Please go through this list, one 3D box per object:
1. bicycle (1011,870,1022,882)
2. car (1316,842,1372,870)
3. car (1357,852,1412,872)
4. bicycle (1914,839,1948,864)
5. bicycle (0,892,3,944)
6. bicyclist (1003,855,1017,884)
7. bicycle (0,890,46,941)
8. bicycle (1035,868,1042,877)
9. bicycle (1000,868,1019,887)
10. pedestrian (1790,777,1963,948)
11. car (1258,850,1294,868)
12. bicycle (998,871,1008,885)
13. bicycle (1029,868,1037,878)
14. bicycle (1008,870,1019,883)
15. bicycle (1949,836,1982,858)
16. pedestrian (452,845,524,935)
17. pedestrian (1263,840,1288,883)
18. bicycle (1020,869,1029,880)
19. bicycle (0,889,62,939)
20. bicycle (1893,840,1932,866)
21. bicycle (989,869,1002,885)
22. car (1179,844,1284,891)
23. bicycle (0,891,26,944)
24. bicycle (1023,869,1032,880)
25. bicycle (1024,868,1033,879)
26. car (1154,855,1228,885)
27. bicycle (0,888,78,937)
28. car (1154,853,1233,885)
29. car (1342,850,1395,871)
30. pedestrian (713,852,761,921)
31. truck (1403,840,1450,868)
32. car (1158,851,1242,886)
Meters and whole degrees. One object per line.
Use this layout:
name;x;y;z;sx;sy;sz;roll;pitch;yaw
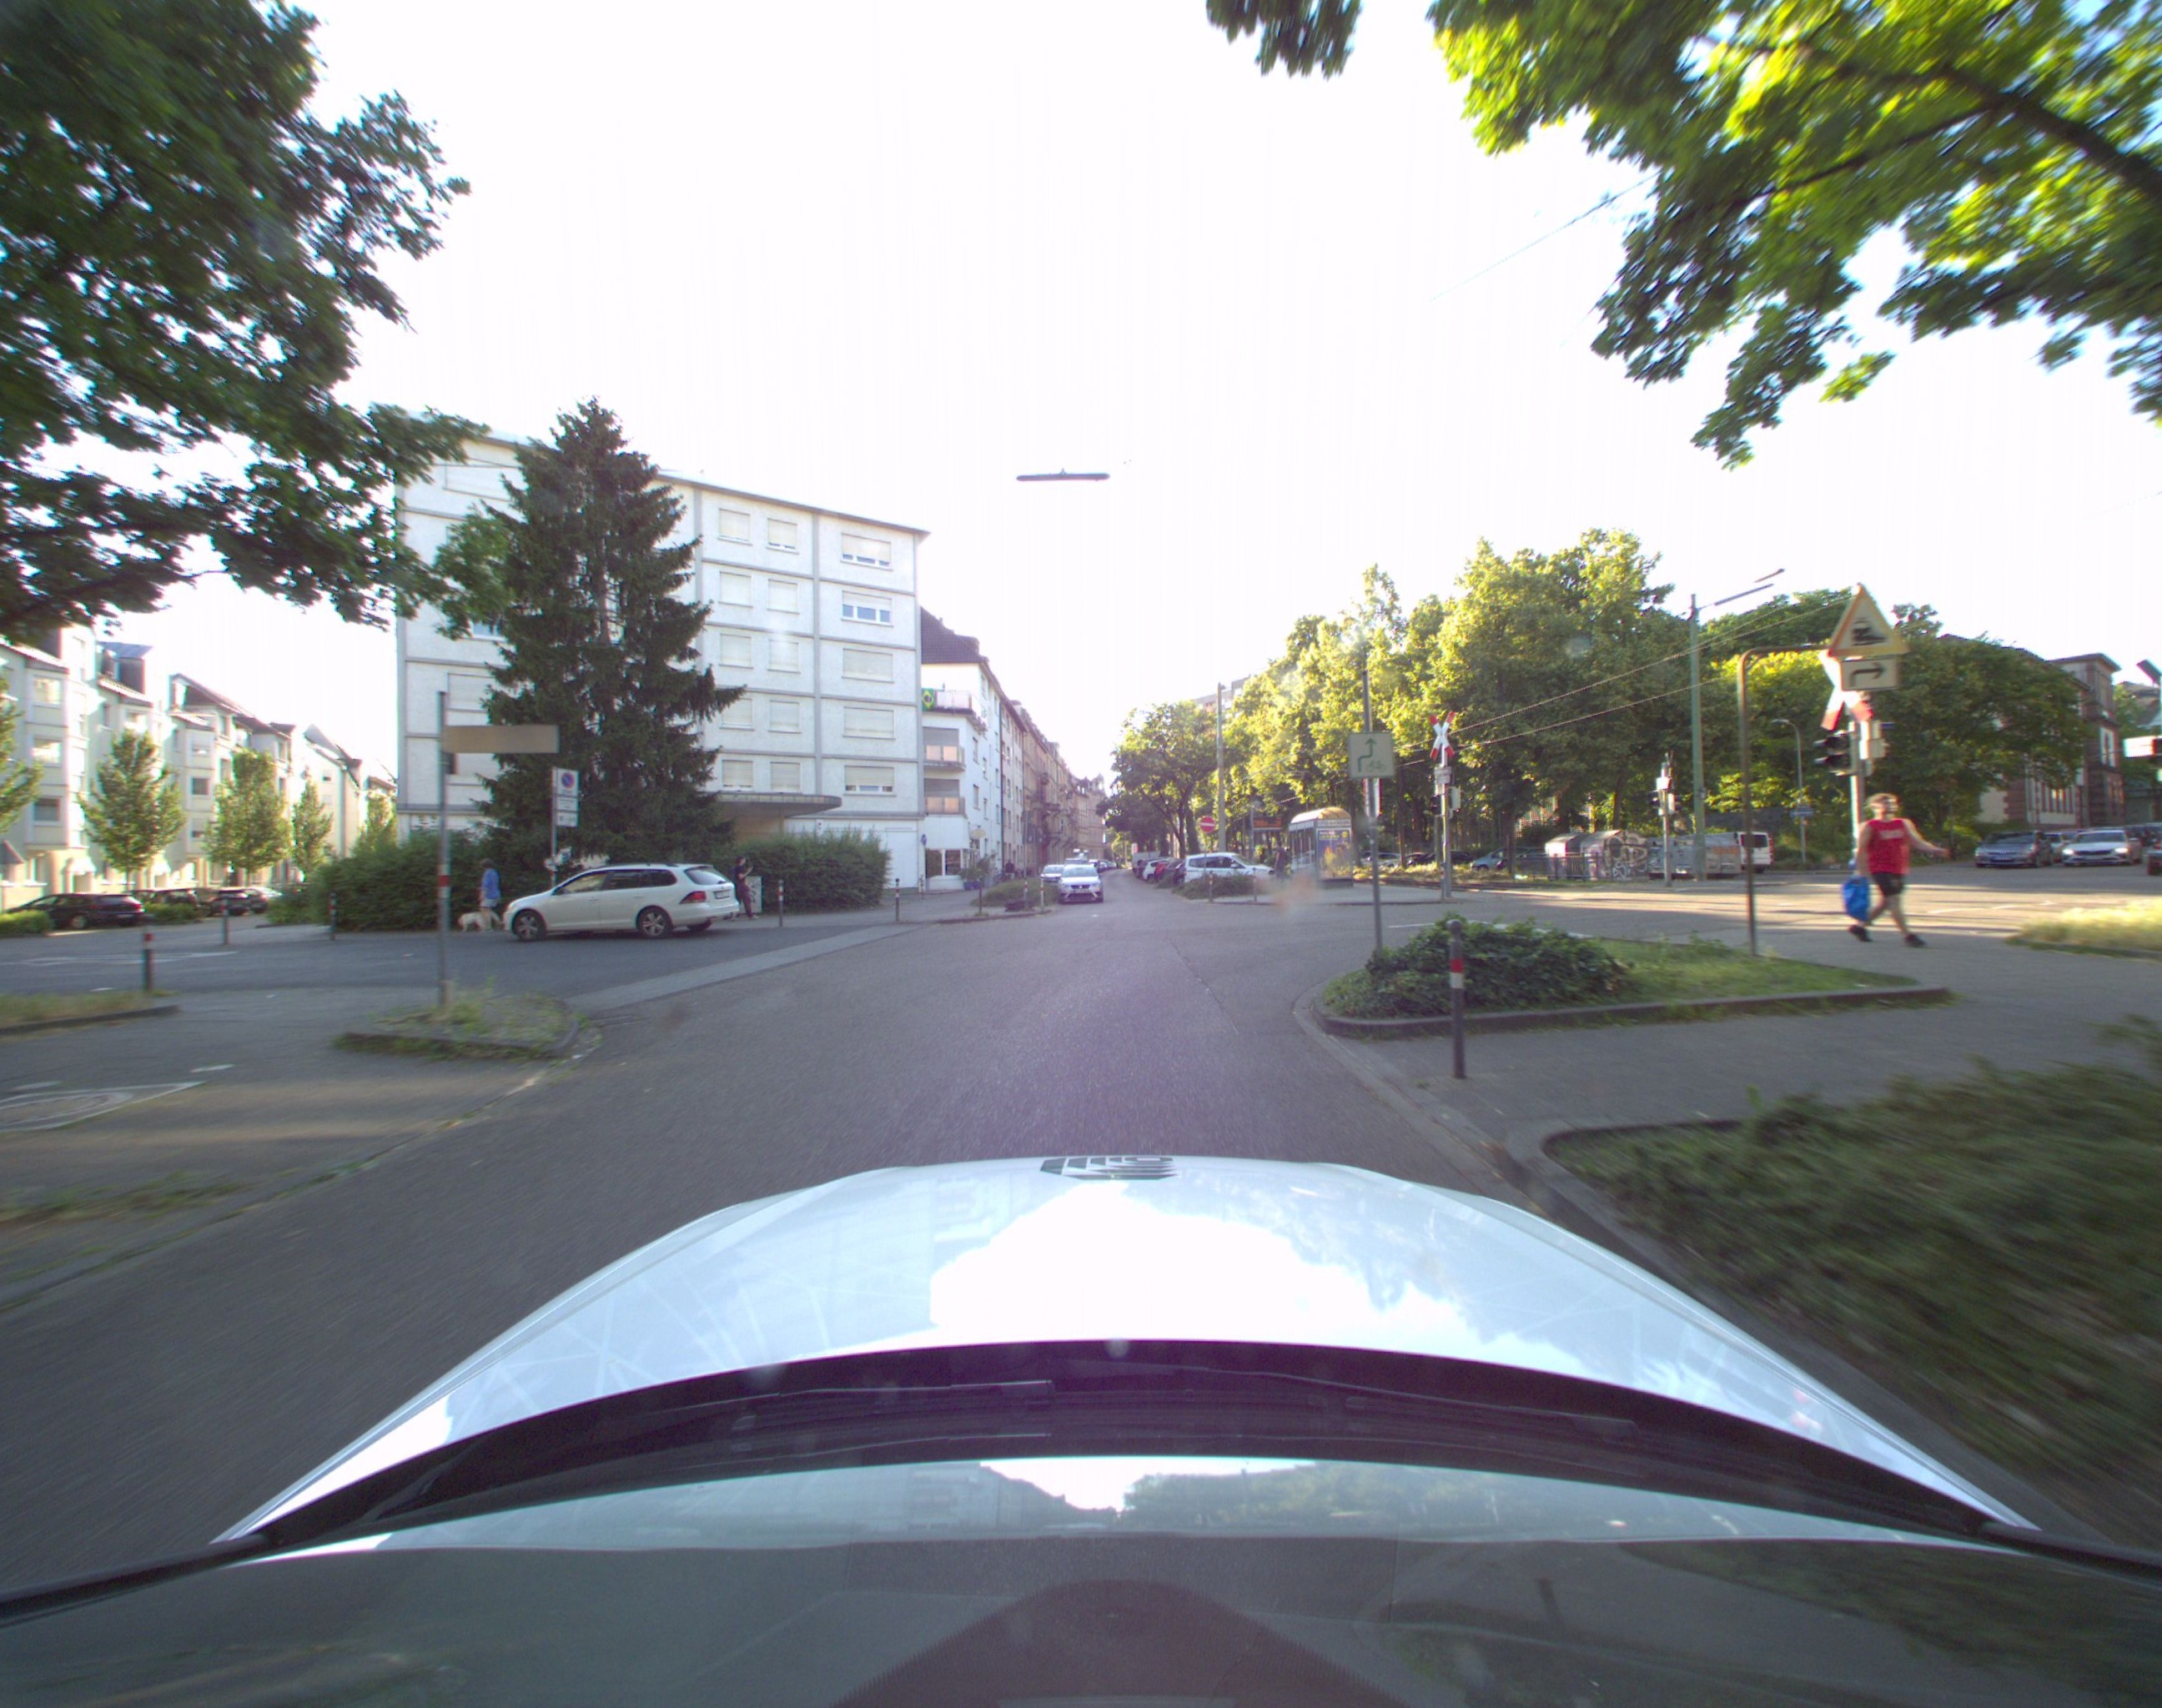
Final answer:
bicycle;-5.445;1.851;68.770;0.624;1.003;2.176;-2;-1;1
car;23.657;0.170;73.351;4.442;2.476;1.830;0;-2;33
car;22.844;0.574;61.351;3.784;1.421;1.746;1;-1;21
bicycle;40.505;-0.121;38.800;2.637;1.101;0.592;-1;-1;-33
bicycle;-31.218;1.739;21.385;3.389;1.445;0.873;1;-2;-30
bicyclist;-4.113;0.904;47.172;0.709;1.617;0.724;-2;-1;2
bicycle;-32.100;1.753;23.023;3.389;1.445;0.873;1;-2;-30
bicycle;-4.906;2.082;93.815;0.624;1.003;2.176;-2;-1;1
bicycle;-4.106;1.344;46.986;0.709;1.051;2.349;-2;-1;3
pedestrian;9.572;0.103;9.866;0.899;1.918;1.150;-2;-1;2
car;24.907;0.602;104.200;4.039;2.210;1.830;0;-2;33
bicycle;-5.859;1.770;61.266;0.529;1.003;2.176;-2;-1;1
bicycle;-4.984;1.994;84.237;0.624;1.003;2.176;-2;-1;1
bicycle;-5.363;1.811;65.229;0.624;1.003;2.176;-2;-1;1
bicycle;45.999;-0.361;42.345;2.636;1.101;0.593;-1;-1;-31
pedestrian;-13.772;0.825;18.943;0.979;2.014;0.863;-2;-1;1
pedestrian;8.721;0.337;36.497;0.840;1.910;0.843;-2;-1;27
bicycle;-5.409;1.939;78.639;0.624;1.003;2.176;-2;-1;1
bicycle;-32.616;1.769;23.813;3.389;1.445;0.873;1;-2;-30
bicycle;38.180;-0.048;37.374;2.635;1.101;0.593;-1;-1;-31
bicycle;-5.714;1.562;54.670;0.529;1.003;2.177;-2;-1;3
car;6.686;0.608;36.422;4.186;1.652;1.618;-6;-1;33
bicycle;-31.644;1.761;22.195;3.389;1.445;0.873;1;-2;-30
bicycle;-5.000;1.913;75.643;0.624;1.003;2.176;-2;-1;1
bicycle;-5.216;1.957;81.032;0.624;1.003;2.176;-2;-1;1
car;6.892;0.989;51.271;4.188;1.458;1.617;-6;-1;26
bicycle;-33.127;1.767;24.627;3.389;1.445;0.873;1;-2;-30
car;6.676;0.905;48.453;4.188;1.458;1.617;-6;-1;26
car;22.653;0.513;64.149;3.784;1.587;1.746;1;-1;21
pedestrian;-8.751;0.815;20.748;0.825;1.736;0.871;0;-1;1
truck;30.383;0.041;71.822;2.357;2.352;4.386;-2;-1;2
car;6.625;0.797;45.287;4.188;1.508;1.617;-6;-1;26
